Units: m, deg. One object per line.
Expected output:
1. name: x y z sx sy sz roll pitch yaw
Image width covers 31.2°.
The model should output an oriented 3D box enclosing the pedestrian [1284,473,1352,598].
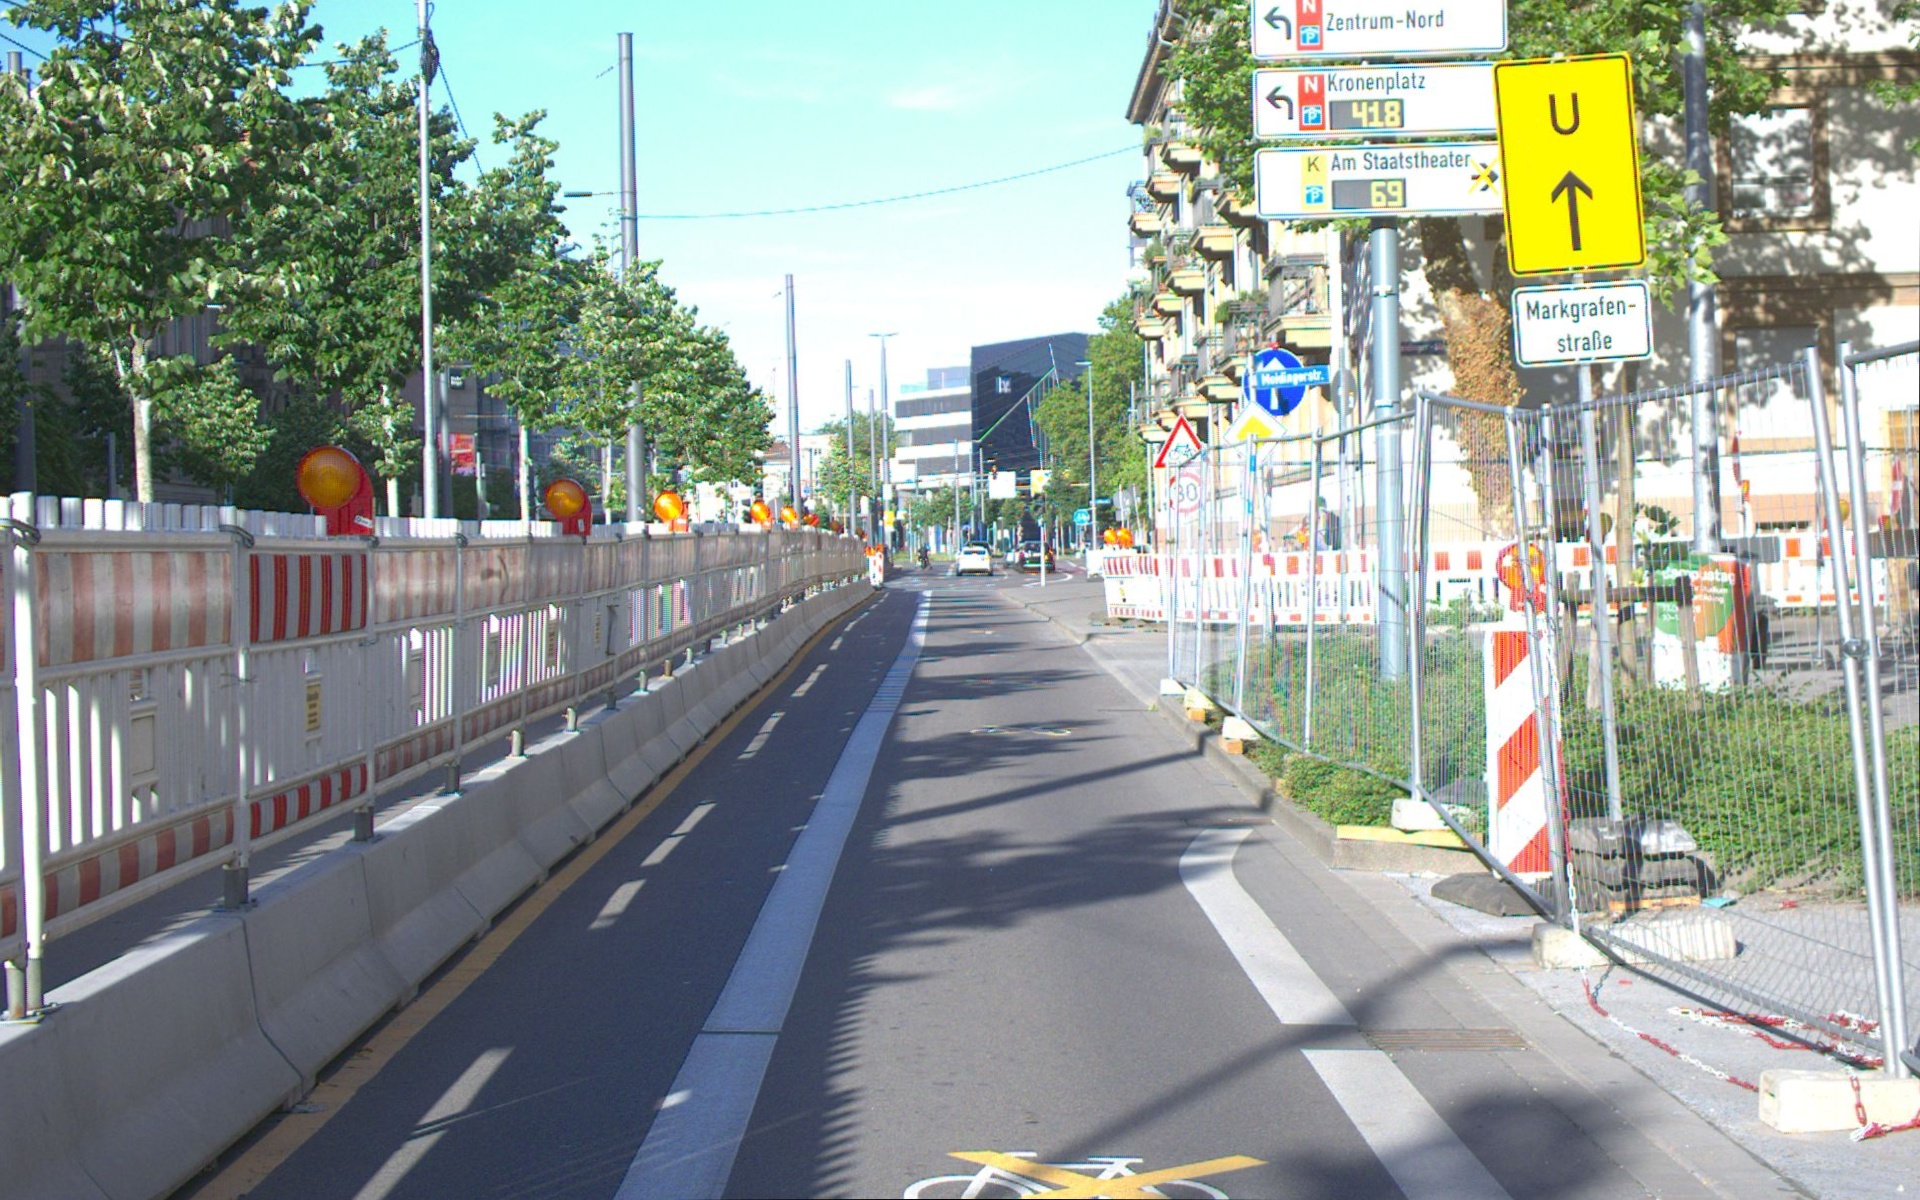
1. pedestrian: 5.056 -0.913 48.592 0.668 1.740 0.778 -2 1 -17

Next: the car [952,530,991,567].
1. car: 0.578 -2.642 176.146 1.883 1.836 3.668 -2 1 0

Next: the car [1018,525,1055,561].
1. car: 4.141 -3.093 186.592 1.883 1.836 3.668 -2 1 0

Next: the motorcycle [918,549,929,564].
1. motorcycle: -2.194 -2.627 207.356 0.631 0.893 1.621 -2 1 0

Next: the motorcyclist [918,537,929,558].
1. motorcyclist: -2.210 -3.156 207.418 0.631 1.258 0.606 -2 1 0

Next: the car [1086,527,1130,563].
1. car: 6.806 -2.543 158.606 1.883 1.584 3.668 -2 1 1

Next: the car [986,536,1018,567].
1. car: 2.561 -3.015 212.485 1.883 1.836 3.668 -2 1 0
